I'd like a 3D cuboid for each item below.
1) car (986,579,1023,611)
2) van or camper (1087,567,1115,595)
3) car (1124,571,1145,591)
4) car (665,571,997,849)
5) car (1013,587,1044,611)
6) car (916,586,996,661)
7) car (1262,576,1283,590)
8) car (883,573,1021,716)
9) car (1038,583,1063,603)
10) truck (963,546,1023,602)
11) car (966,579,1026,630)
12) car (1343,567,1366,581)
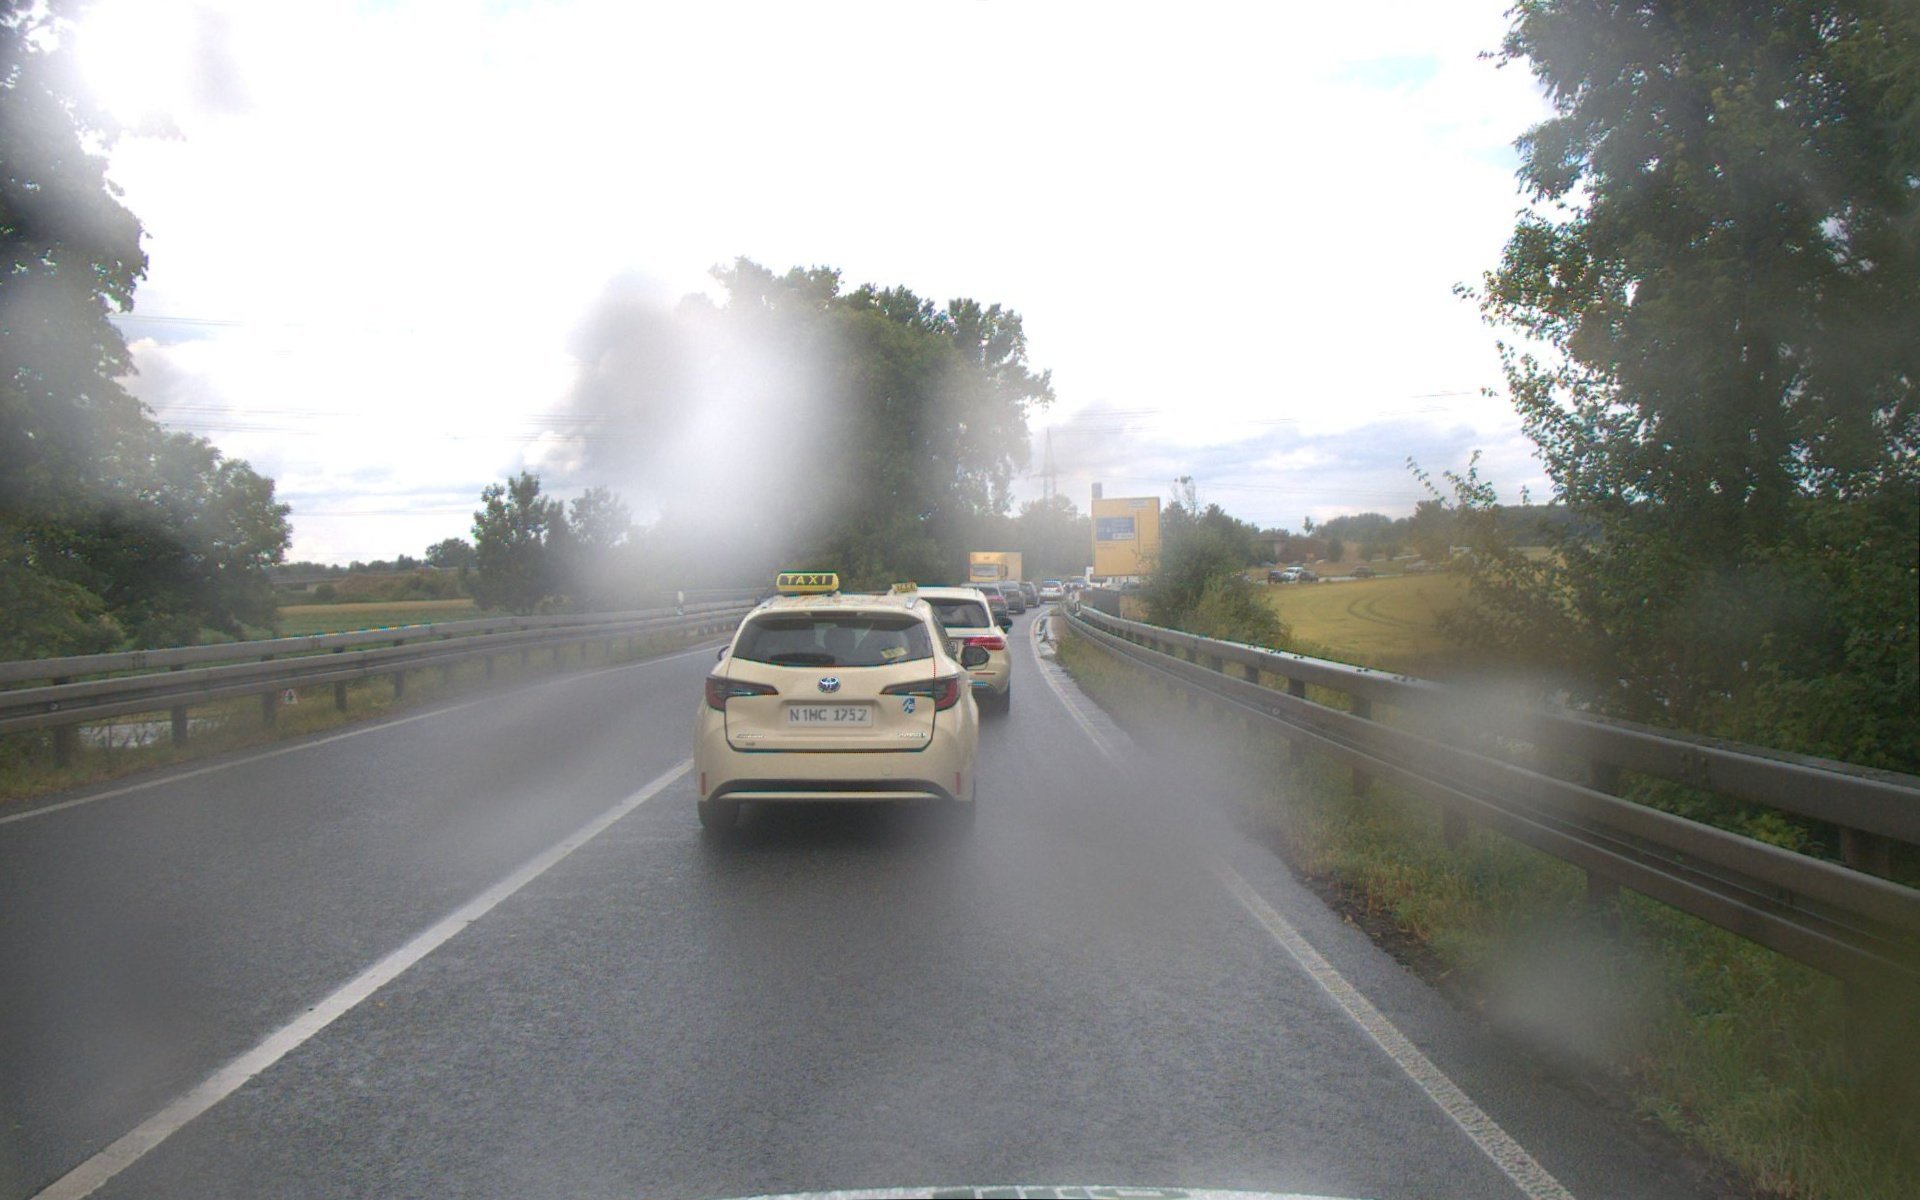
[{"bbox_3d":[2.084,-0.205,76.492,1.625,1.434,3.906,0,0,3],"label":"car"},{"bbox_3d":[11.759,-1.581,137.893,1.951,2.293,4.003,1,0,11],"label":"van or camper"},{"bbox_3d":[16.621,-1.778,157.415,1.695,1.851,4.003,1,0,9],"label":"car"},{"bbox_3d":[-0.729,0.609,11.410,1.867,1.564,4.161,0,0,0],"label":"car"},{"bbox_3d":[3.877,-0.069,92.791,1.451,1.332,3.479,0,0,7],"label":"car"},{"bbox_3d":[-0.045,0.447,34.158,1.474,1.462,3.357,1,0,3],"label":"car"},{"bbox_3d":[41.816,-2.245,221.209,1.783,1.870,3.984,0,0,27],"label":"car"},{"bbox_3d":[-0.081,0.490,20.463,1.546,1.600,3.681,0,0,0],"label":"car"},{"bbox_3d":[6.046,-0.491,110.475,1.451,1.332,3.479,0,0,6],"label":"car"},{"bbox_3d":[2.320,-1.871,112.554,2.712,3.488,9.197,2,3,9],"label":"truck"},{"bbox_3d":[1.047,0.113,49.873,1.631,1.489,3.476,0,0,-2],"label":"car"},{"bbox_3d":[60.130,-3.924,251.956,2.104,2.049,3.987,0,0,34],"label":"car"}]
